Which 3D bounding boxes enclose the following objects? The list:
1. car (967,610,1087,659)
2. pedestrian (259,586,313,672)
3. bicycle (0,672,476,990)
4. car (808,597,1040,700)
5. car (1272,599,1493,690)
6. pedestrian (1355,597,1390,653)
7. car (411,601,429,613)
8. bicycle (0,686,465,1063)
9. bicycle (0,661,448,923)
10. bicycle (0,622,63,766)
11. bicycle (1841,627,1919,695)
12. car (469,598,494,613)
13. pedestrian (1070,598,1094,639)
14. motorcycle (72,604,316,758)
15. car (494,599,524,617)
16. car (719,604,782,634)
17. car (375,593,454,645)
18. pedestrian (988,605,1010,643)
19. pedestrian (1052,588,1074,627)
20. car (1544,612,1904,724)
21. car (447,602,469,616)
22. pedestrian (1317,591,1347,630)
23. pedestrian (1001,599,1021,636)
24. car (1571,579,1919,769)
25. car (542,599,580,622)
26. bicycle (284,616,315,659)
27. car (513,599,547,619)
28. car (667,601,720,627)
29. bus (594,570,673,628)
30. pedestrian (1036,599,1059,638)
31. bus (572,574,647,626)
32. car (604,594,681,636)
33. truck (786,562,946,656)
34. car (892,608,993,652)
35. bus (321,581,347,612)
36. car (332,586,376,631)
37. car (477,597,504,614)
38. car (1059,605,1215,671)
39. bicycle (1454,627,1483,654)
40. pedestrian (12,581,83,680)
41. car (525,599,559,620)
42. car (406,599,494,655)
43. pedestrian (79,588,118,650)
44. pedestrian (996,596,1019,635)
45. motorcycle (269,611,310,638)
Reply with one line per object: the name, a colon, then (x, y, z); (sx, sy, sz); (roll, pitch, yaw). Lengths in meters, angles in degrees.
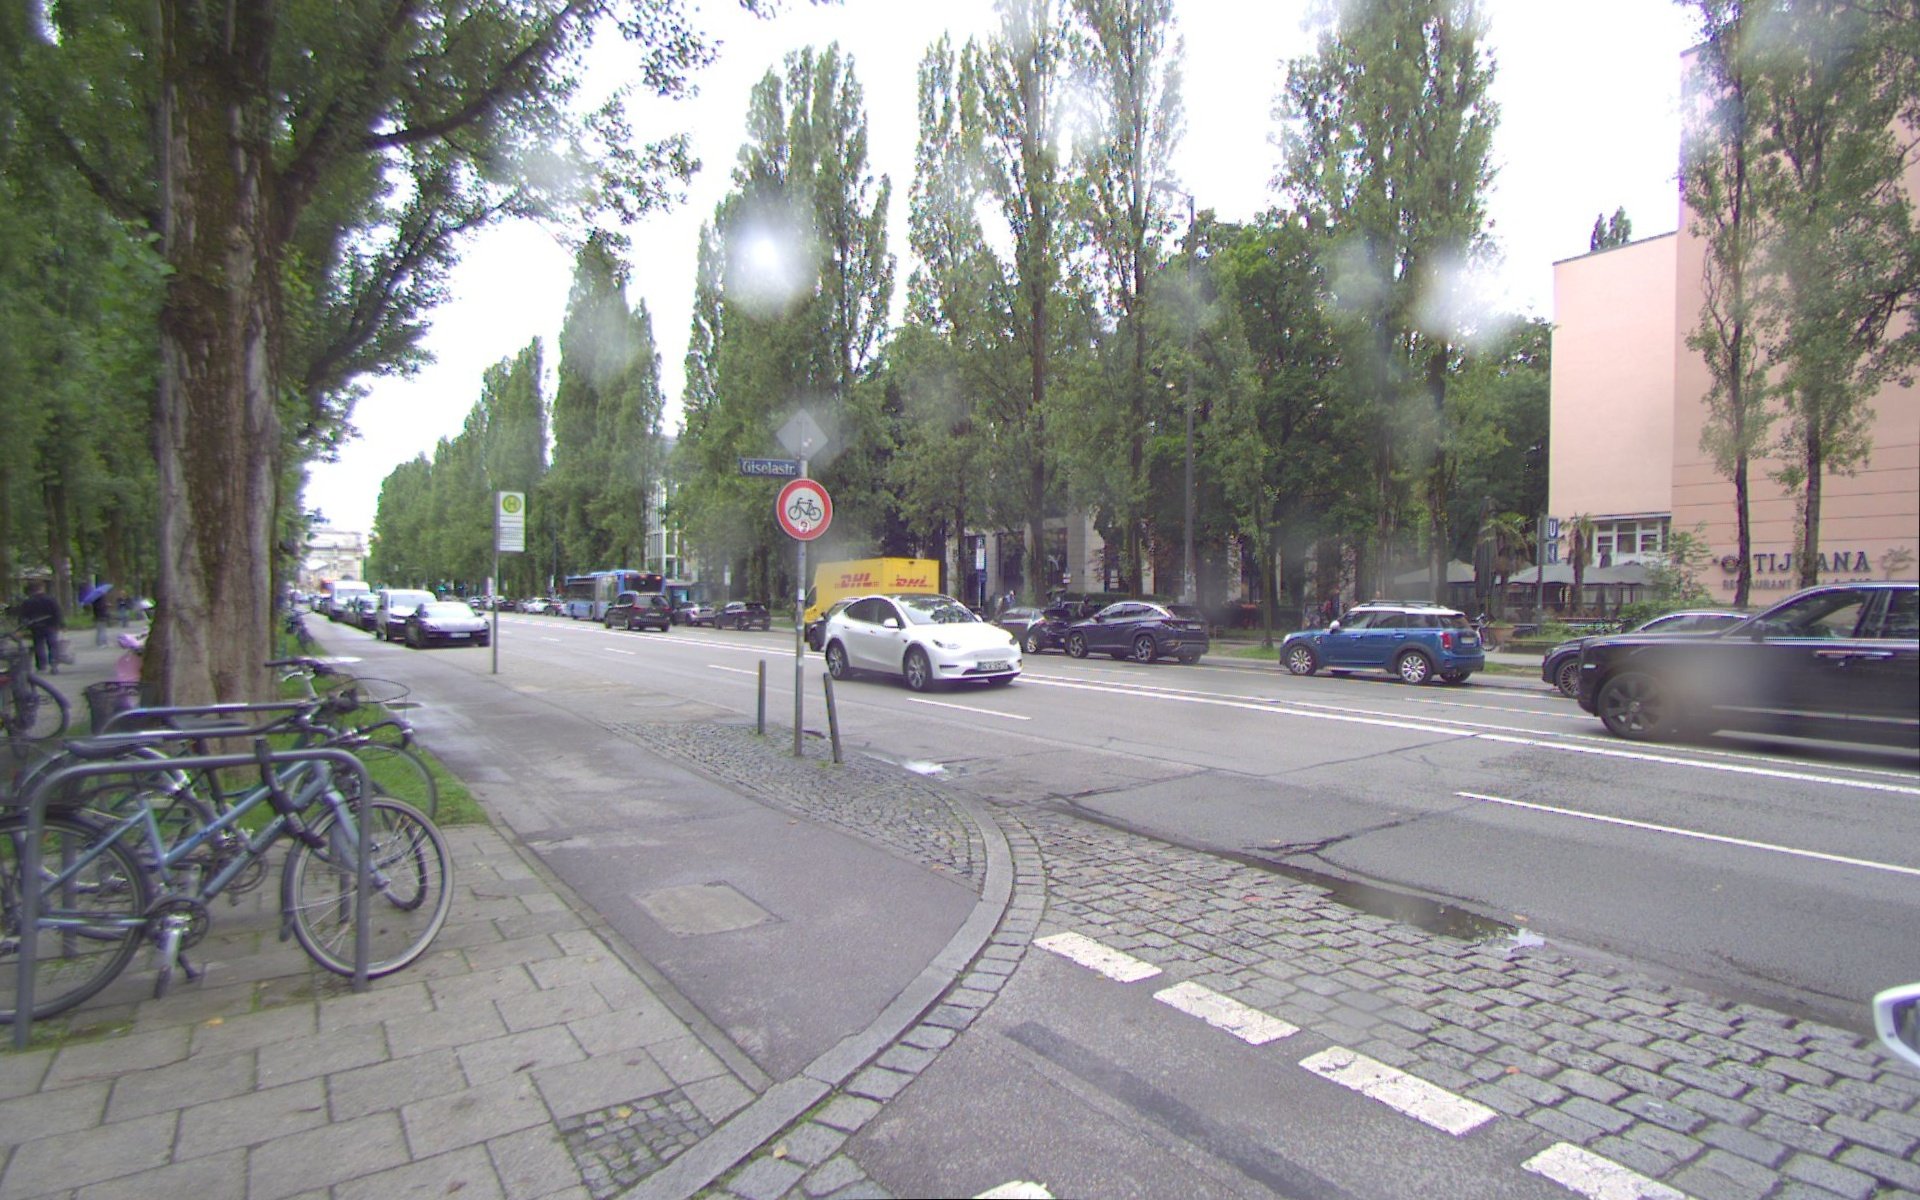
car: (2.044, 1.031, 31.461); (1.775, 1.431, 3.844); (0, 0, -34)
pedestrian: (-14.906, 0.622, 22.211); (0.884, 1.868, 0.758); (0, 0, -43)
bicycle: (-3.066, 0.917, 4.395); (1.683, 1.108, 0.487); (0, 0, -31)
car: (-0.793, 0.770, 18.303); (1.981, 1.596, 4.590); (-2, 1, -37)
car: (8.958, 0.882, 21.571); (1.776, 1.755, 4.037); (2, -1, -36)
pedestrian: (12.816, 0.765, 31.210); (0.702, 1.736, 0.725); (0, 0, -34)
car: (-79.597, 1.035, 147.990); (1.979, 1.745, 4.307); (1, -1, -34)
bicycle: (-2.758, 0.923, 3.661); (1.683, 1.108, 0.487); (0, 0, -31)
bicycle: (-3.760, 0.910, 5.190); (1.961, 1.108, 0.487); (0, 0, -31)
bicycle: (-8.752, 0.823, 9.215); (0.577, 1.204, 1.600); (0, 0, -35)
bicycle: (16.689, 1.075, 18.191); (1.969, 1.139, 0.669); (0, 0, -35)
car: (-55.568, 0.618, 116.572); (1.979, 1.745, 4.307); (1, -1, -34)
pedestrian: (5.208, 0.774, 42.936); (0.702, 1.736, 0.725); (0, 0, -34)
motorcycle: (-7.213, 0.727, 9.475); (1.951, 1.211, 0.630); (5, 1, 11)
car: (-45.731, 0.840, 101.792); (1.979, 1.745, 4.770); (1, -1, -34)
car: (-10.619, 0.931, 50.697); (1.775, 1.431, 3.844); (0, 0, -34)
car: (-19.939, 0.715, 36.628); (1.993, 1.780, 3.959); (-1, -1, -37)
pedestrian: (1.801, 1.087, 46.510); (0.702, 1.736, 0.725); (0, 0, -34)
pedestrian: (4.621, 0.317, 45.081); (0.702, 1.736, 0.725); (0, 0, -34)
car: (12.496, 0.995, 16.741); (1.775, 1.549, 4.471); (0, 0, -34)
car: (-64.164, 1.124, 128.444); (1.979, 1.745, 4.307); (1, -1, -34)
pedestrian: (13.182, 0.369, 35.623); (0.724, 1.374, 0.702); (0, 0, -34)
pedestrian: (2.447, 0.819, 48.240); (0.702, 1.736, 0.725); (0, 0, -34)
car: (9.453, 0.728, 10.354); (1.982, 1.771, 5.011); (3, -1, -37)
car: (-31.819, 0.805, 80.061); (1.980, 1.745, 4.081); (1, -1, -34)
bicycle: (-17.161, 0.953, 26.082); (0.549, 1.036, 1.743); (0, 0, -38)
car: (-39.637, 0.820, 92.552); (1.979, 1.745, 4.770); (1, -1, -34)
car: (-15.145, 0.764, 56.974); (1.775, 1.431, 3.844); (0, 0, -34)
bus: (-19.138, -0.040, 58.505); (2.891, 3.092, 8.454); (0, 0, -28)
pedestrian: (3.877, 0.813, 44.470); (0.702, 1.736, 0.725); (0, 0, -34)
bus: (-22.958, 0.041, 65.381); (2.892, 3.092, 9.719); (0, 0, -30)
car: (-14.176, 0.633, 44.687); (1.979, 1.745, 4.770); (1, -1, -34)
truck: (-3.451, 0.281, 35.156); (2.574, 2.946, 7.013); (0, 0, -34)
car: (-0.680, 1.016, 35.534); (1.775, 1.431, 3.844); (0, 0, -34)
bus: (-86.733, -0.400, 139.130); (2.623, 4.167, 9.701); (0, 0, -35)
car: (-37.784, 0.524, 62.532); (1.992, 2.667, 5.941); (0, 0, -35)
car: (-51.537, 0.609, 110.189); (1.979, 1.745, 4.307); (1, -1, -34)
car: (4.709, 0.945, 27.255); (1.775, 1.622, 4.196); (0, 0, -34)
bicycle: (15.985, 1.267, 31.562); (1.017, 0.809, 0.322); (0, 0, -30)
pedestrian: (-16.450, 0.535, 18.136); (0.850, 1.734, 0.949); (0, 0, -37)
car: (-36.751, 0.817, 88.274); (1.980, 1.745, 4.081); (1, -1, -34)
car: (-15.940, 0.776, 31.300); (1.991, 1.602, 3.962); (0, 0, -34)
pedestrian: (-24.140, 0.519, 28.163); (0.727, 1.715, 0.641); (0, 0, -31)
pedestrian: (2.123, 0.681, 44.797); (0.702, 1.736, 0.725); (0, 0, -34)
motorcycle: (-24.990, 0.908, 37.441); (1.630, 0.951, 0.467); (0, 0, 23)
